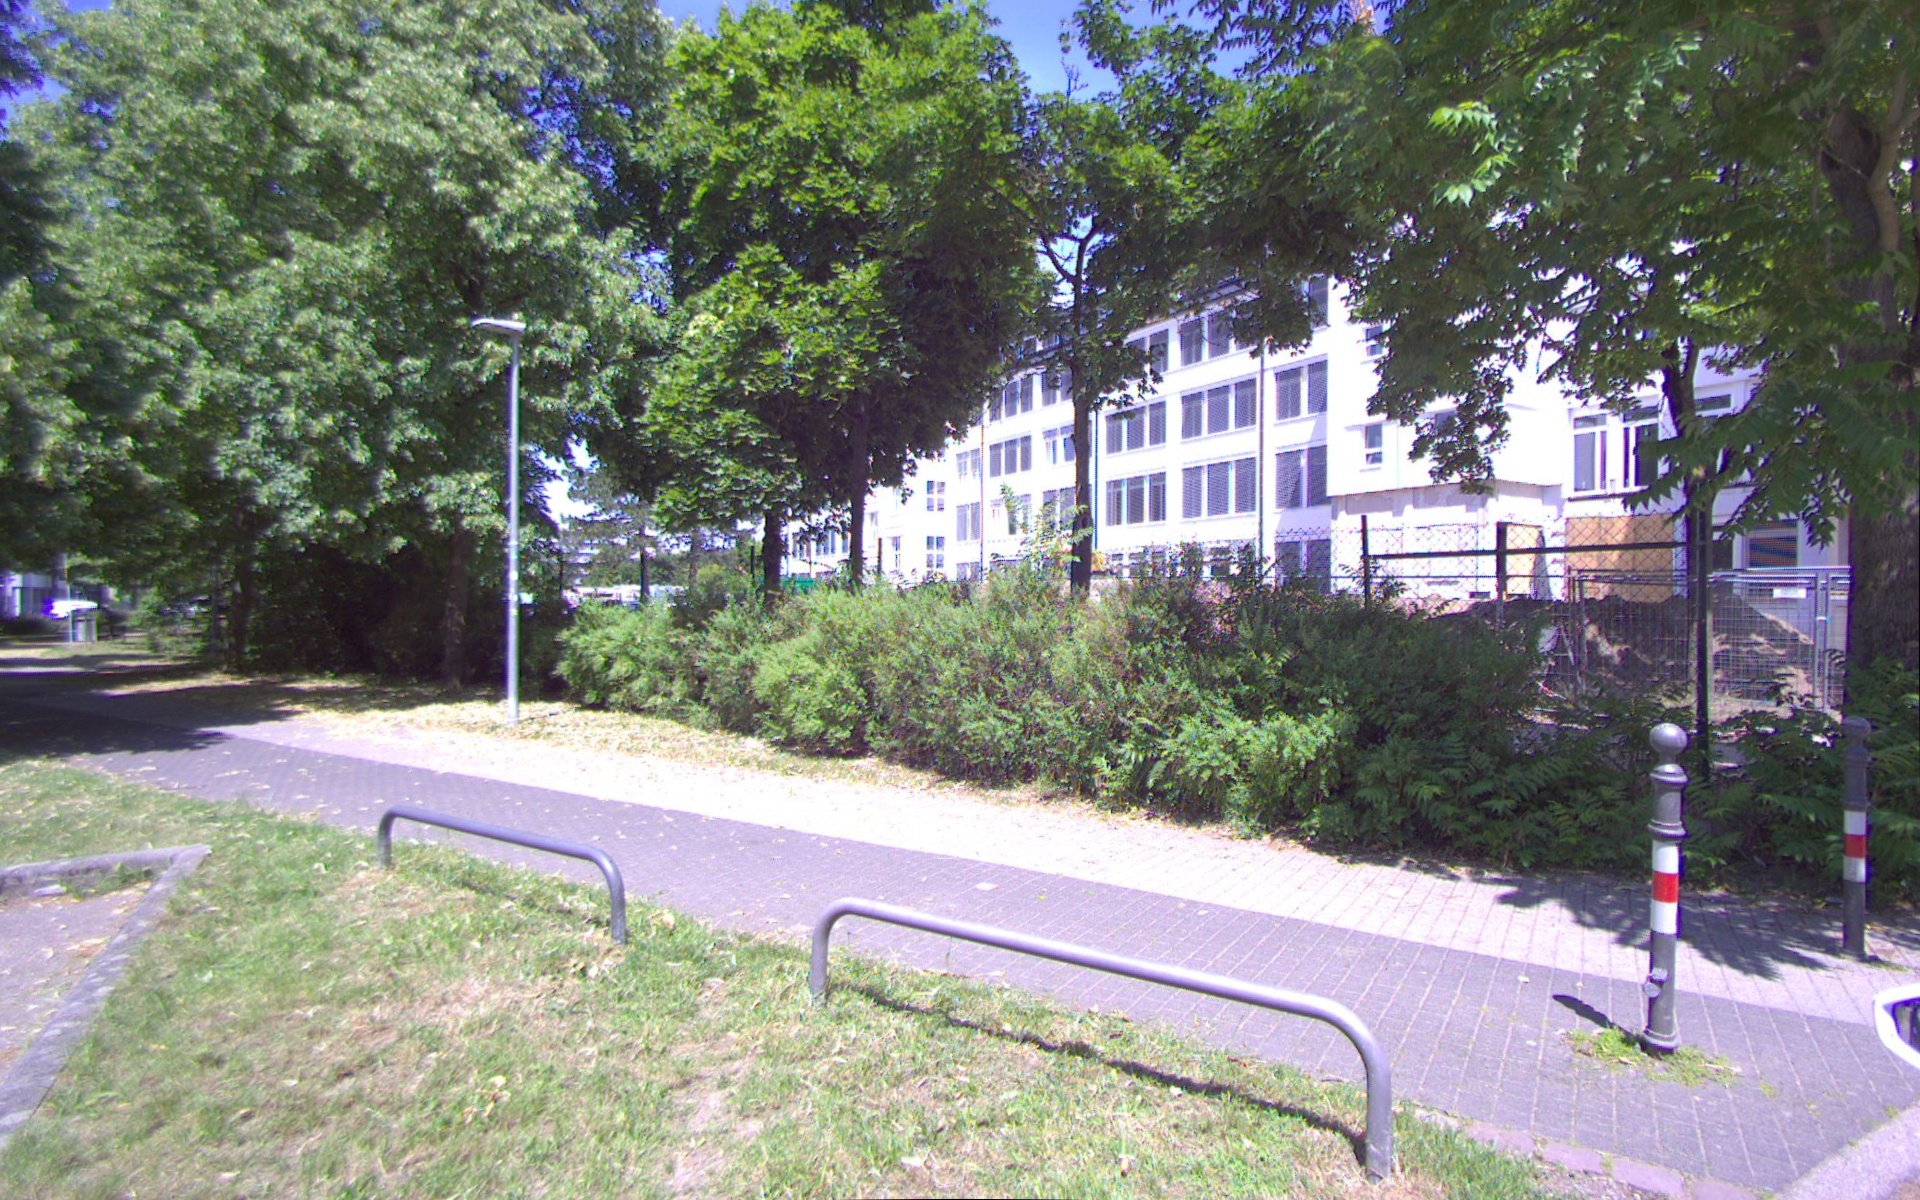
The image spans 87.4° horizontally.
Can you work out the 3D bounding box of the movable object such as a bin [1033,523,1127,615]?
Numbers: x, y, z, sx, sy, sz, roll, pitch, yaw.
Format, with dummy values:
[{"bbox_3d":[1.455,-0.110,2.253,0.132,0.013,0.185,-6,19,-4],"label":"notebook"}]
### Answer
[{"bbox_3d":[6.059,-1.463,51.451,1.974,4.430,5.685,1,0,-26],"label":"movable object such as a bin"}]
